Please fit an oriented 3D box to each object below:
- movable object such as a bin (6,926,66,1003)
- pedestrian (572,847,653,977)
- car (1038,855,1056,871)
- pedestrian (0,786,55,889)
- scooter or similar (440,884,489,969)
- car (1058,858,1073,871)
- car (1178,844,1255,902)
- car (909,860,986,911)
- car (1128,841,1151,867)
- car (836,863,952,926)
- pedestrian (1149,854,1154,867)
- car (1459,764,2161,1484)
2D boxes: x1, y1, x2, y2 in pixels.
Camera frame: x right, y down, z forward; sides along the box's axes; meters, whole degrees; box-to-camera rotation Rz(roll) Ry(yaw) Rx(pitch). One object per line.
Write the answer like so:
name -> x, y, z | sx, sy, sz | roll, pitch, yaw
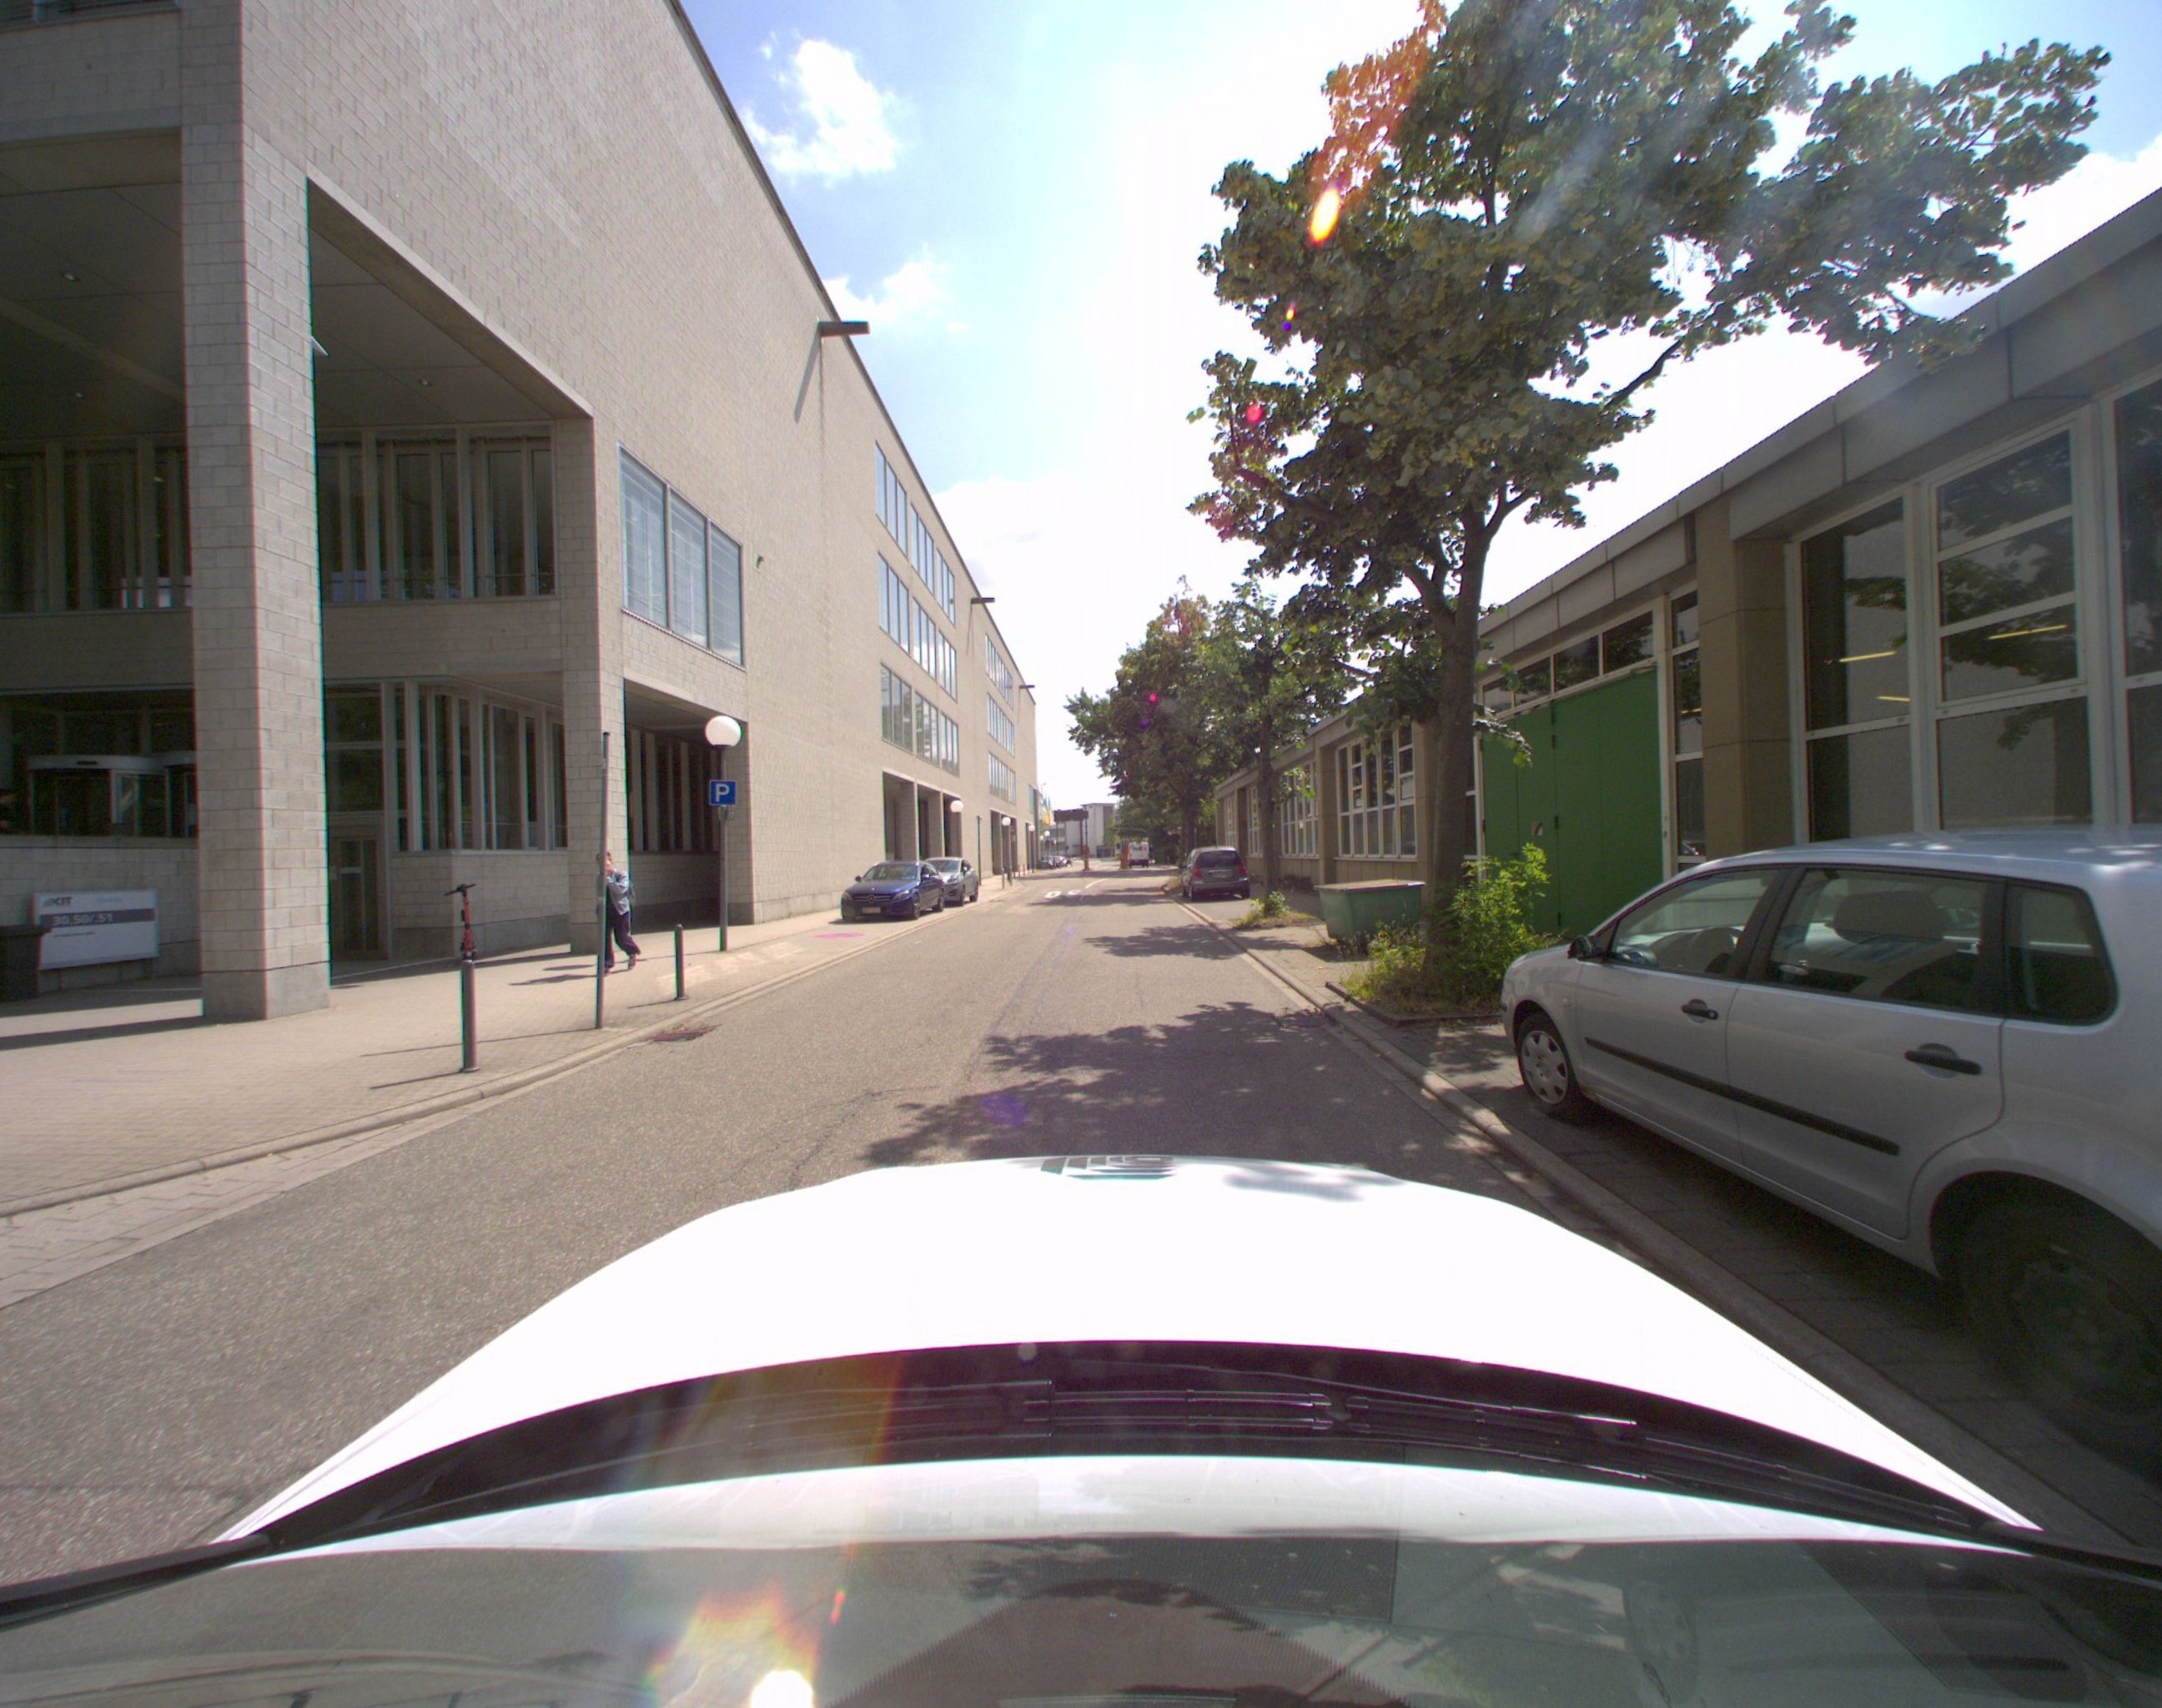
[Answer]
movable object such as a bin -> -13.009, 1.371, 10.146 | 0.168, 0.895, 0.448 | -2, 0, -3
pedestrian -> -6.468, 0.772, 11.282 | 0.649, 1.701, 0.887 | -2, 0, -8
car -> -3.601, 0.961, 86.608 | 1.639, 1.498, 3.730 | -2, -2, 2
pedestrian -> -17.609, -0.262, 13.379 | 0.629, 1.661, 0.696 | -2, 0, 10
scooter or similar -> -9.611, 1.087, 12.722 | 0.529, 1.210, 1.541 | -2, 0, -35
car -> -1.866, 1.310, 98.416 | 1.639, 1.498, 3.730 | -2, -2, 2
car -> 4.153, 0.562, 25.582 | 1.851, 1.574, 4.003 | -3, 0, 3
car -> -4.279, 0.973, 26.678 | 1.624, 1.485, 4.180 | -2, -1, 3
car -> 5.937, -0.001, 82.967 | 2.076, 2.539, 4.317 | -1, 0, 2
car -> -4.759, 0.976, 21.368 | 1.758, 1.427, 4.239 | -2, -1, 4
pedestrian -> 9.167, 0.859, 105.973 | 0.657, 1.729, 0.635 | -2, 0, 1
car -> 3.173, 0.560, 3.327 | 1.610, 1.538, 3.782 | -2, 0, 3
